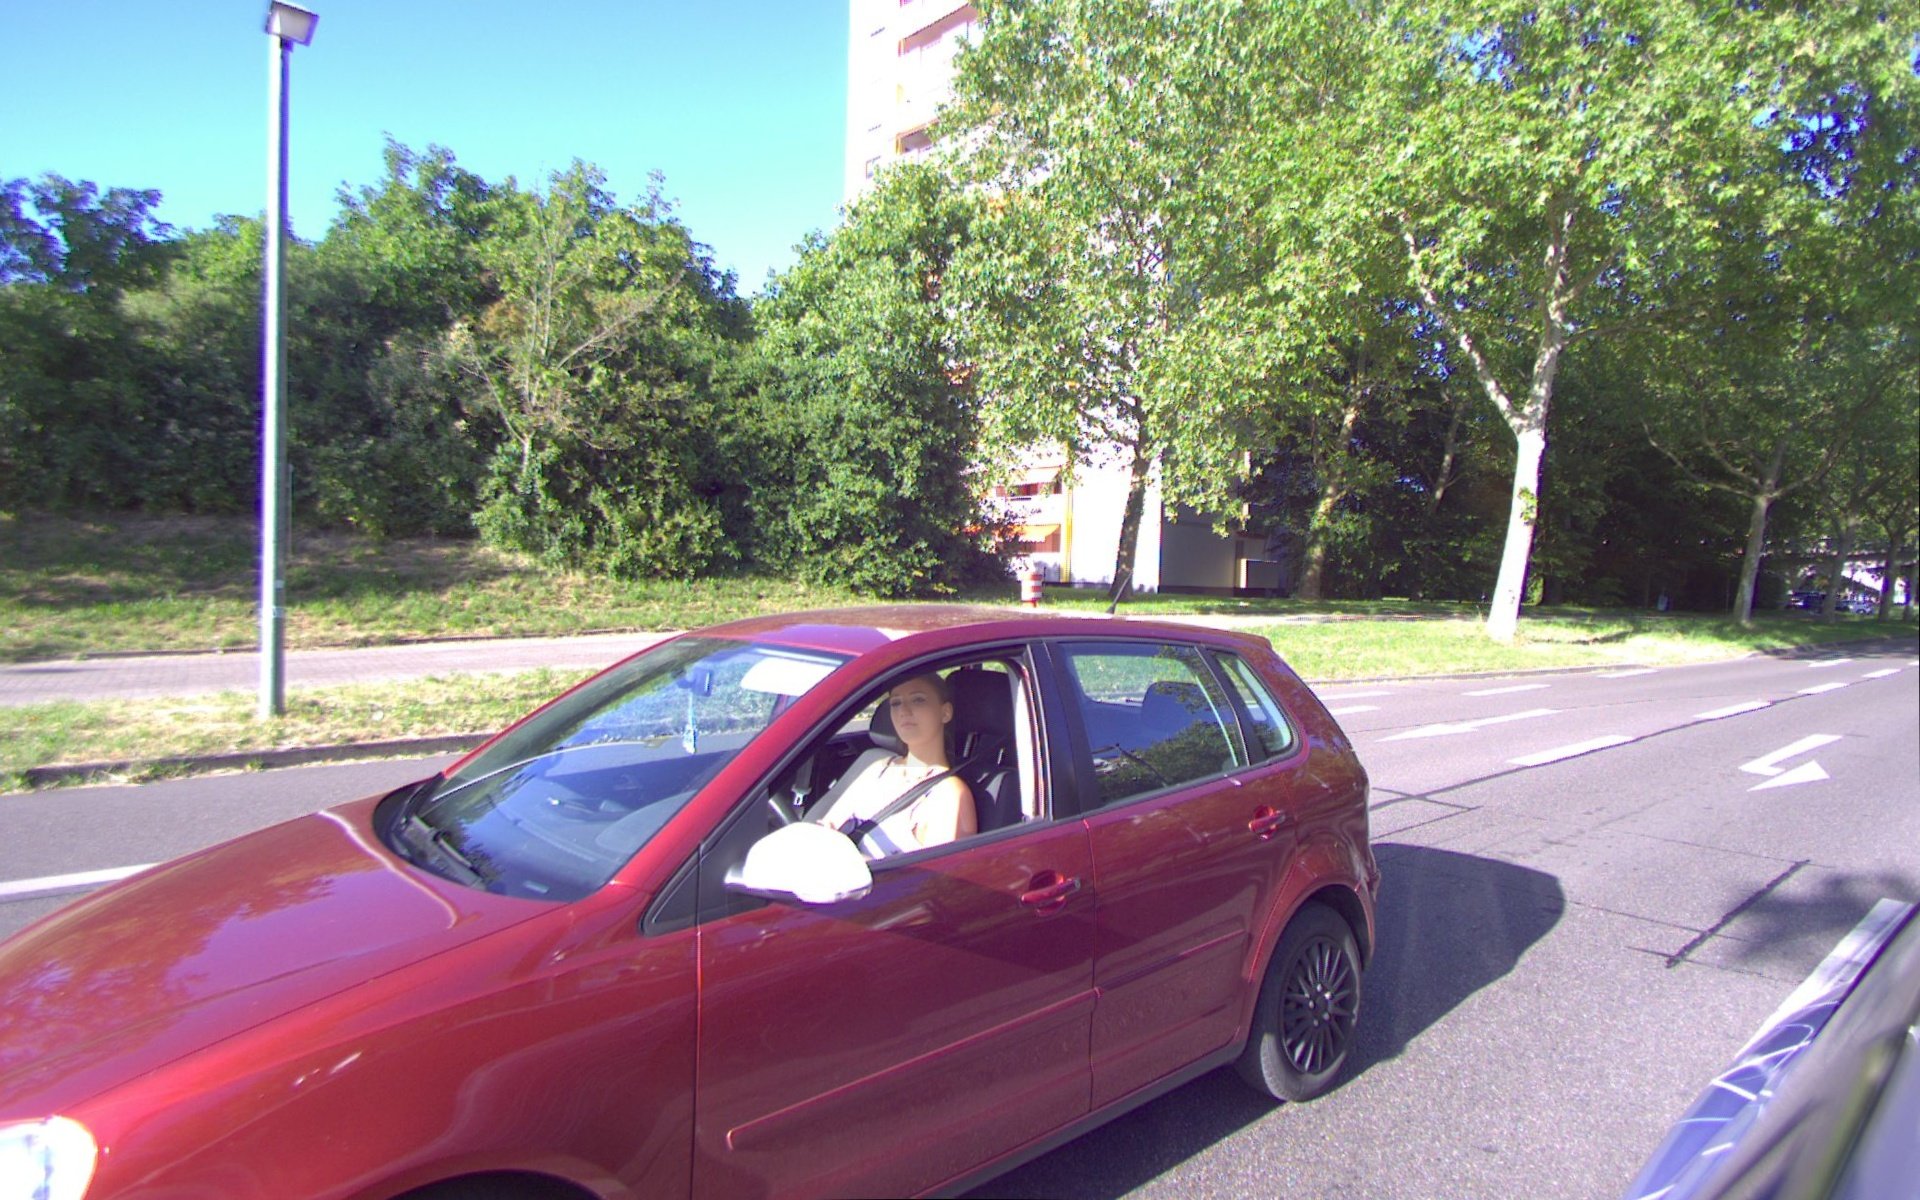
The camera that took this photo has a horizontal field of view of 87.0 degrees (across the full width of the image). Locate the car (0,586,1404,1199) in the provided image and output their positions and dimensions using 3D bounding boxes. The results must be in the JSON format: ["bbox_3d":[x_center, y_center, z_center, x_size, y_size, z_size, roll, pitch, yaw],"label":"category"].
[{"bbox_3d":[-0.445,0.710,2.722,3.624,1.479,1.579,-1,0,-40],"label":"car"}]

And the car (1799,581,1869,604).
[{"bbox_3d":[78.091,-0.658,90.484,4.701,1.959,1.879,1,1,41],"label":"car"}]
